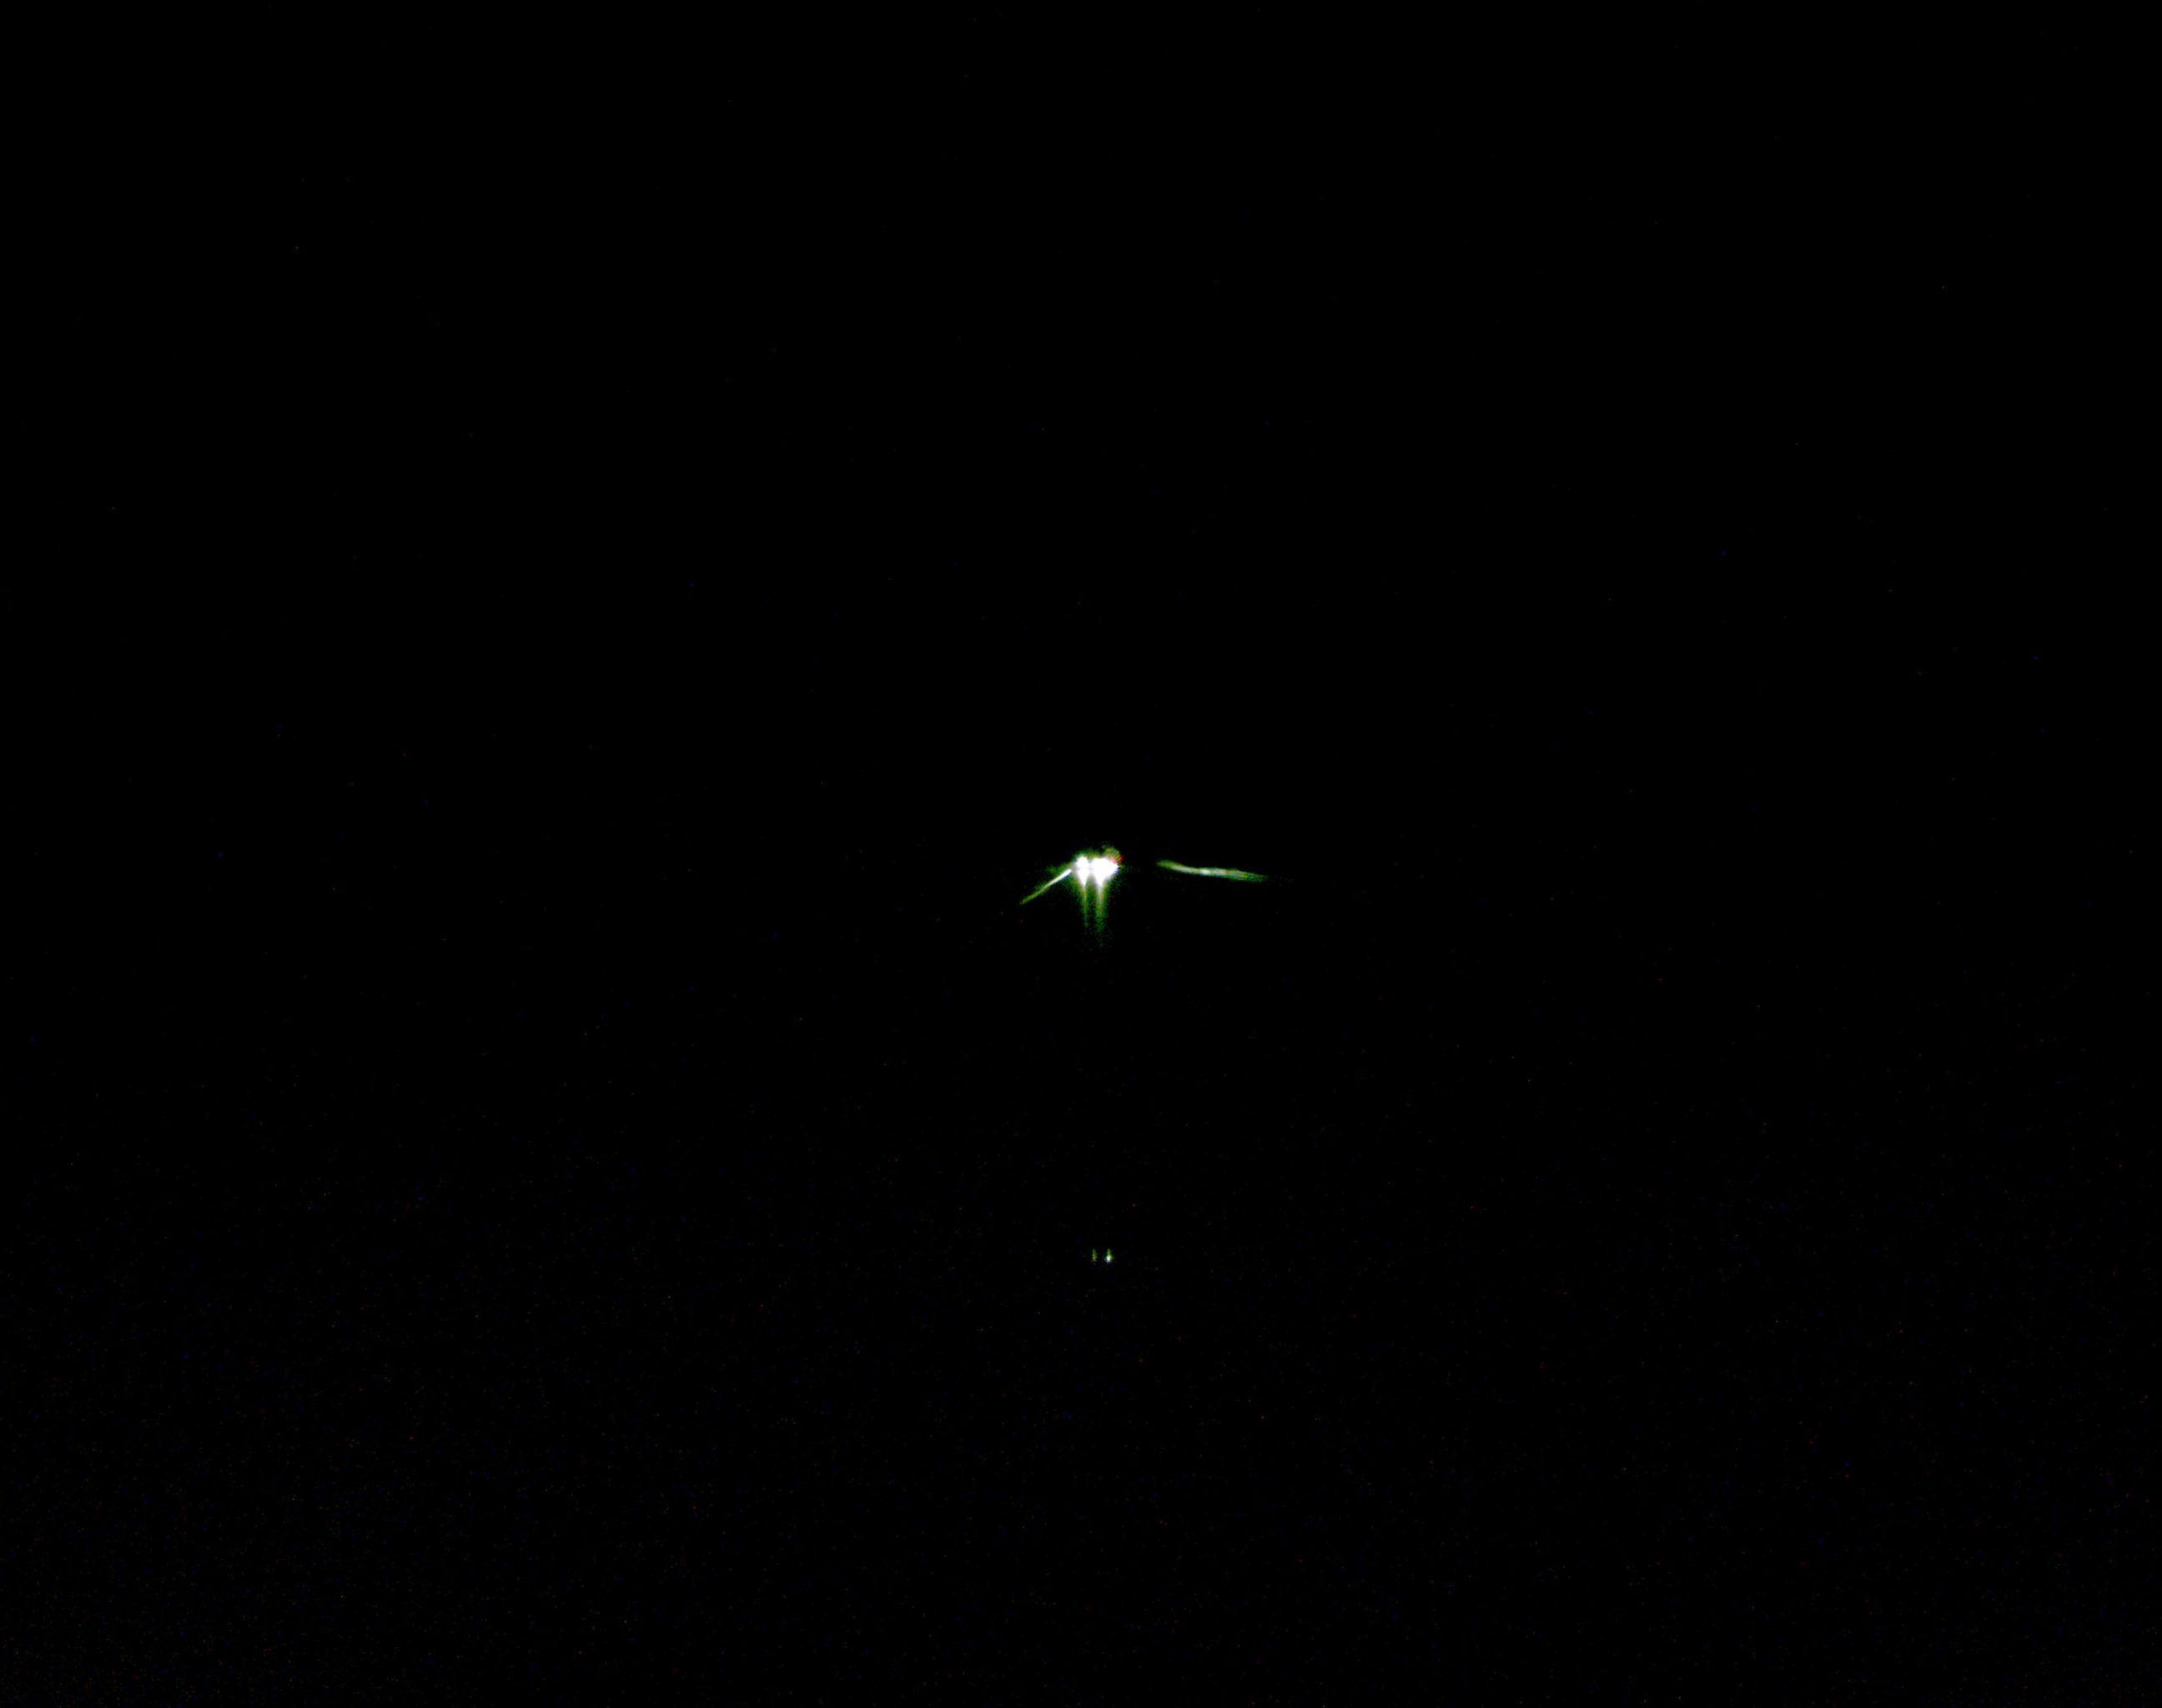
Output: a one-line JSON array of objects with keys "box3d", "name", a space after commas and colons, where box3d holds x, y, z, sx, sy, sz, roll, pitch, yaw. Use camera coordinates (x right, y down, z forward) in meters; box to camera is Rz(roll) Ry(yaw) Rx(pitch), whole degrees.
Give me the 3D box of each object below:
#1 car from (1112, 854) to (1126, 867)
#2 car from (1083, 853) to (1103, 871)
[{"box3d": [5.427, 0.912, 109.323, 1.819, 1.724, 3.999, -2, 1, 1], "name": "car"}, {"box3d": [1.307, 0.862, 81.886, 1.998, 1.724, 3.999, -2, 1, 1], "name": "car"}]
